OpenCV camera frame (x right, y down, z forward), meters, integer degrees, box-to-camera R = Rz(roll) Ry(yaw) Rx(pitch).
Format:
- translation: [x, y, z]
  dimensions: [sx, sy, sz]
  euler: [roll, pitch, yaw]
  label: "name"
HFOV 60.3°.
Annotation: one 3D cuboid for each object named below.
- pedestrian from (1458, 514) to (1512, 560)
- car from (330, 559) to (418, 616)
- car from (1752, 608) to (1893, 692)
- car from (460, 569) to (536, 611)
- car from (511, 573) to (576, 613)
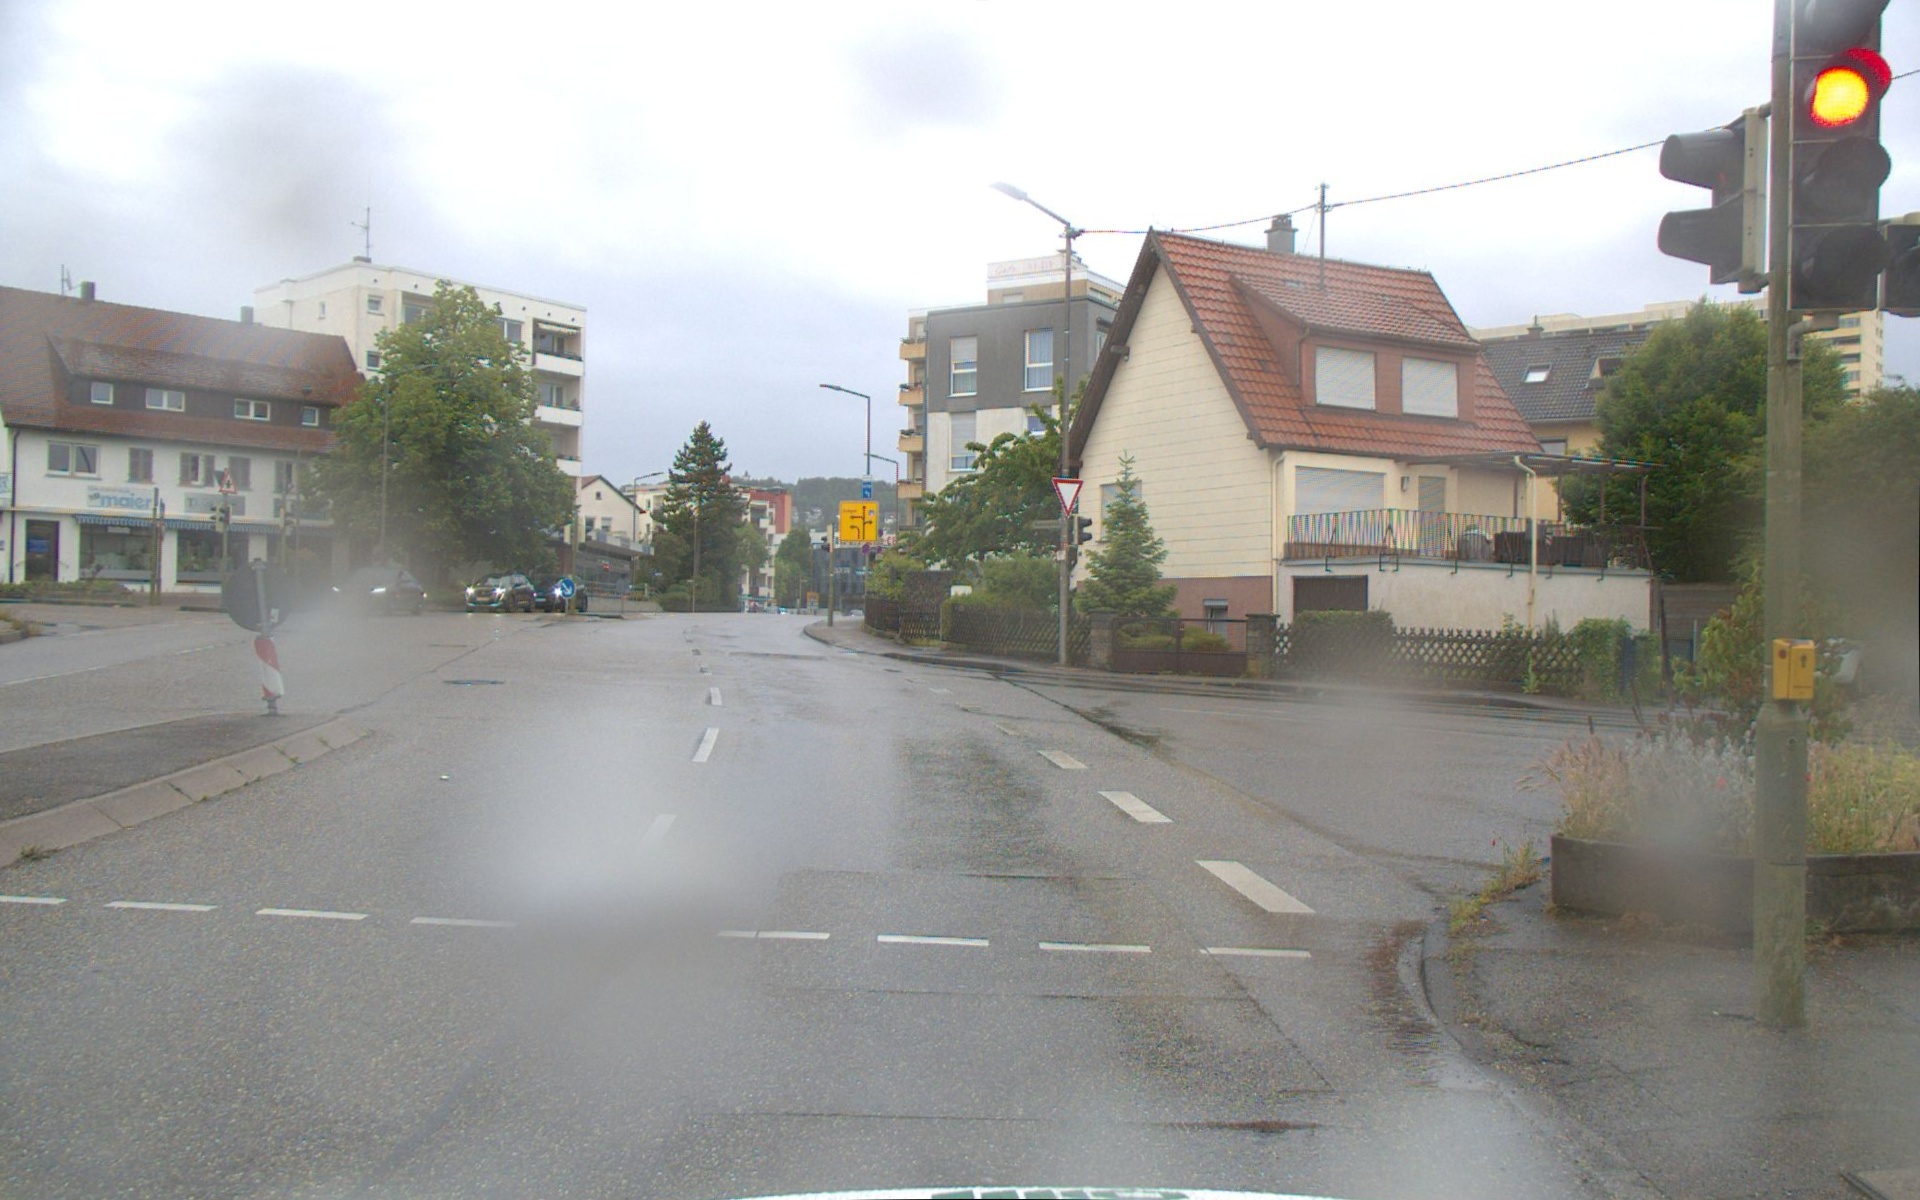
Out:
- translation: [11.155, -1.333, 35.179]
  dimensions: [0.902, 0.898, 0.632]
  euler: [1, -2, -20]
  label: "pedestrian"
- translation: [-18.034, -0.356, 51.103]
  dimensions: [1.959, 1.653, 4.525]
  euler: [1, 0, -12]
  label: "car"
- translation: [15.624, 0.866, 29.878]
  dimensions: [1.780, 1.386, 3.986]
  euler: [1, 0, 35]
  label: "car"
- translation: [-17.820, -0.375, 63.917]
  dimensions: [1.927, 1.538, 3.998]
  euler: [1, 0, -2]
  label: "car"
- translation: [-17.837, -0.289, 70.991]
  dimensions: [1.841, 1.625, 4.182]
  euler: [1, 0, -2]
  label: "car"
